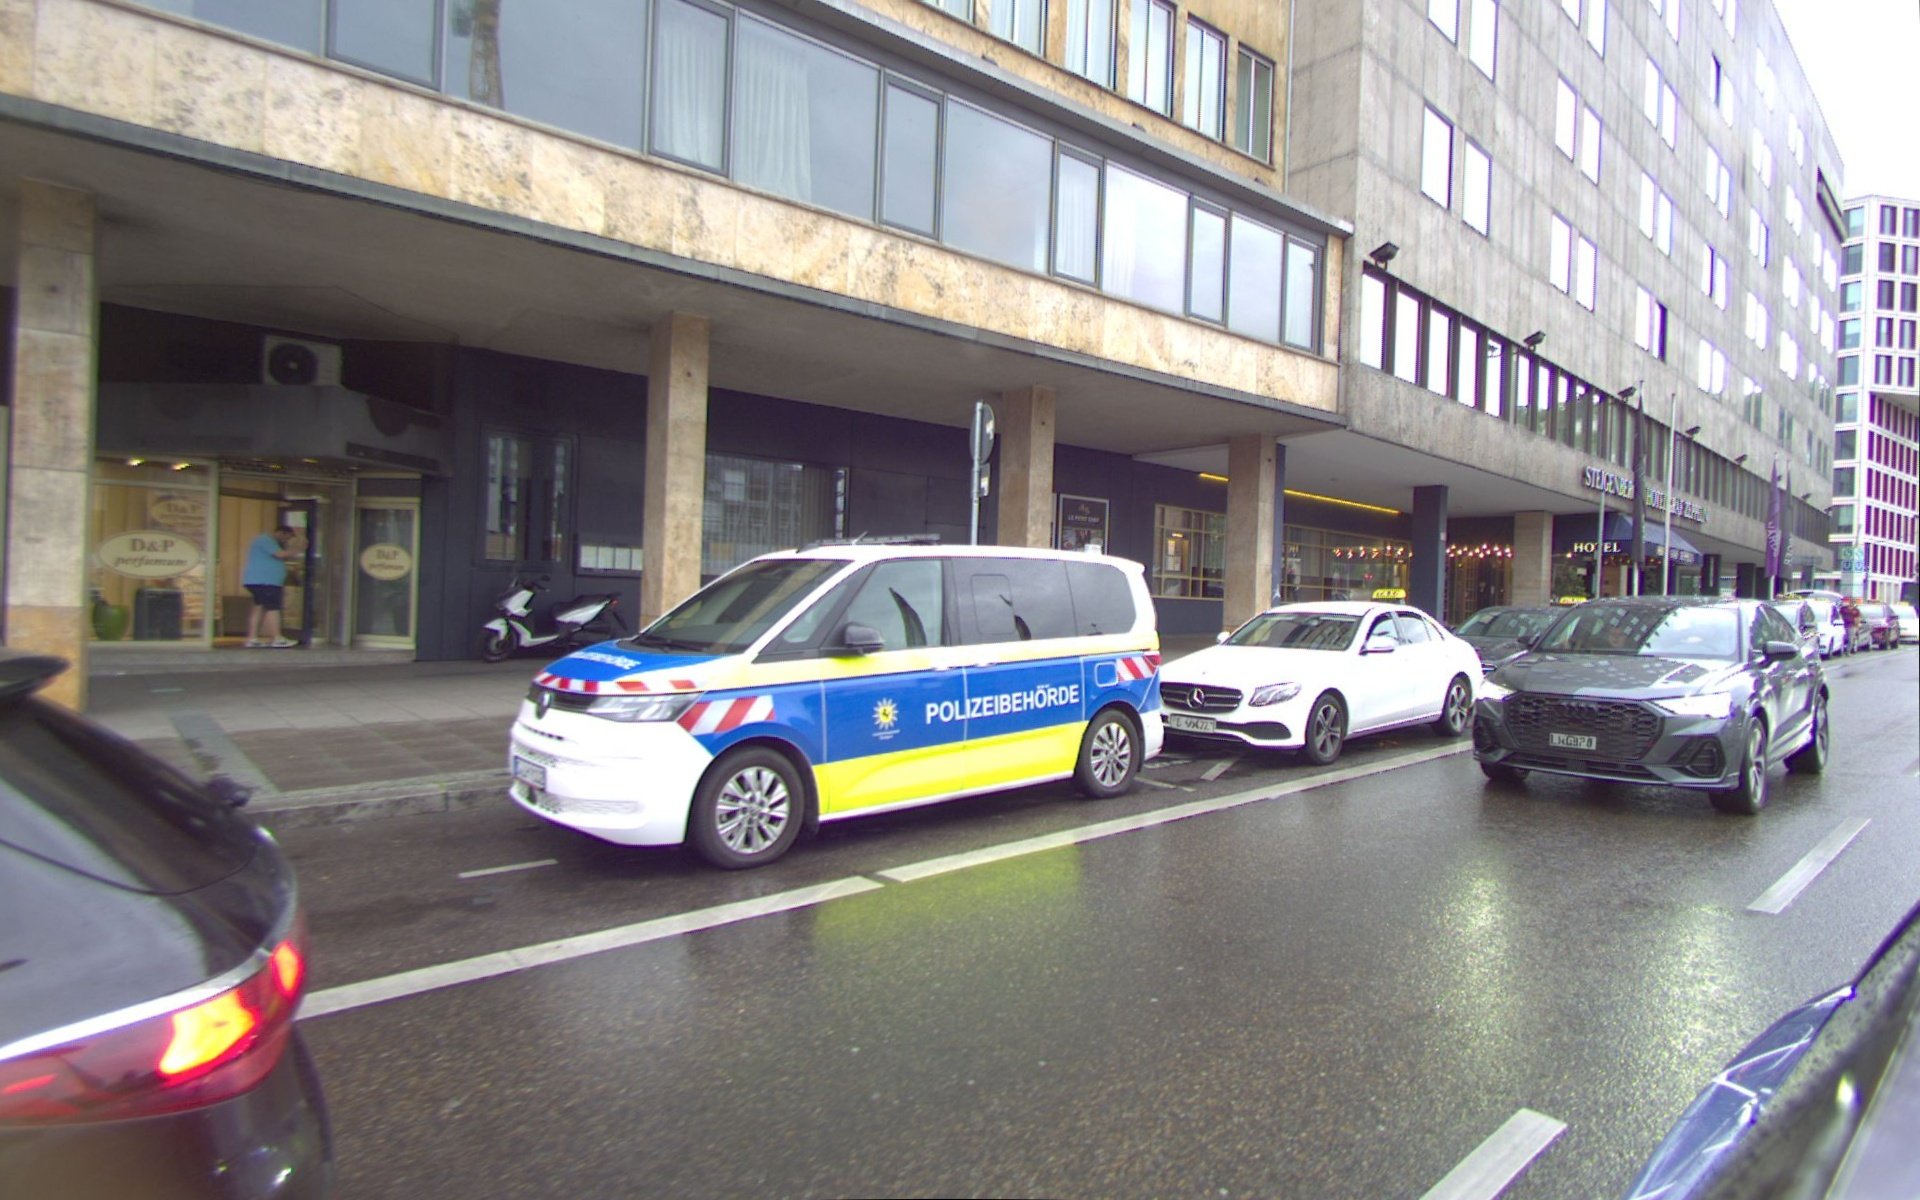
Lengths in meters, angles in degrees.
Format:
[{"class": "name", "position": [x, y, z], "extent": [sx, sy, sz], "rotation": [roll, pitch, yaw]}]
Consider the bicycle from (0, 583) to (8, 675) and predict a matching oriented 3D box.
[{"class": "bicycle", "position": [-12.073, 0.337, 11.035], "extent": [2.428, 1.059, 0.657], "rotation": [0, 0, -41]}]

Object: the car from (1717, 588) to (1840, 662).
[{"class": "car", "position": [21.490, 0.586, 26.500], "extent": [4.731, 1.764, 1.729], "rotation": [0, 0, -41]}]

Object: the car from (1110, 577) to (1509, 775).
[{"class": "car", "position": [3.925, 0.623, 10.853], "extent": [4.924, 1.658, 1.877], "rotation": [0, 0, -41]}]

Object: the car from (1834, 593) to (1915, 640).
[{"class": "car", "position": [33.246, 0.554, 36.766], "extent": [3.932, 1.634, 1.729], "rotation": [0, 0, -41]}]

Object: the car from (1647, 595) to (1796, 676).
[{"class": "car", "position": [16.970, 0.695, 22.453], "extent": [4.731, 1.612, 1.729], "rotation": [0, 0, -41]}]

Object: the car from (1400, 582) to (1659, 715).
[{"class": "car", "position": [8.497, 0.590, 14.914], "extent": [4.731, 1.658, 1.877], "rotation": [0, 0, -41]}]

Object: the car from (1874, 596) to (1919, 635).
[{"class": "car", "position": [40.784, 0.633, 43.551], "extent": [3.932, 1.634, 1.729], "rotation": [0, 0, -41]}]

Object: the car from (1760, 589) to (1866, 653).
[{"class": "car", "position": [25.274, 0.558, 29.932], "extent": [4.731, 1.764, 1.729], "rotation": [0, 0, -41]}]

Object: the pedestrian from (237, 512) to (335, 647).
[{"class": "pedestrian", "position": [-9.412, -0.278, 14.162], "extent": [1.114, 1.813, 0.801], "rotation": [0, 0, -33]}]

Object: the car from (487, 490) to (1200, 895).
[{"class": "car", "position": [-0.514, 0.427, 7.184], "extent": [4.850, 1.944, 1.877], "rotation": [0, 0, -41]}]

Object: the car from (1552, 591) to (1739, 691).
[{"class": "car", "position": [12.713, 0.648, 18.642], "extent": [4.731, 1.612, 1.729], "rotation": [0, 0, -41]}]

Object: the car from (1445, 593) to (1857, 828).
[{"class": "car", "position": [6.061, 0.702, 8.679], "extent": [4.266, 1.520, 1.882], "rotation": [0, 0, -40]}]

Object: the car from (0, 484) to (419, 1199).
[{"class": "car", "position": [-3.023, 0.641, 0.555], "extent": [4.548, 1.520, 1.796], "rotation": [0, 0, -41]}]

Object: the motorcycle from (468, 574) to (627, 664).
[{"class": "motorcycle", "position": [-5.914, 0.255, 14.582], "extent": [2.063, 1.233, 0.569], "rotation": [0, 0, -33]}]

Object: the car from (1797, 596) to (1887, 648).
[{"class": "car", "position": [29.282, 0.683, 33.568], "extent": [3.932, 1.634, 1.729], "rotation": [0, 0, -41]}]
